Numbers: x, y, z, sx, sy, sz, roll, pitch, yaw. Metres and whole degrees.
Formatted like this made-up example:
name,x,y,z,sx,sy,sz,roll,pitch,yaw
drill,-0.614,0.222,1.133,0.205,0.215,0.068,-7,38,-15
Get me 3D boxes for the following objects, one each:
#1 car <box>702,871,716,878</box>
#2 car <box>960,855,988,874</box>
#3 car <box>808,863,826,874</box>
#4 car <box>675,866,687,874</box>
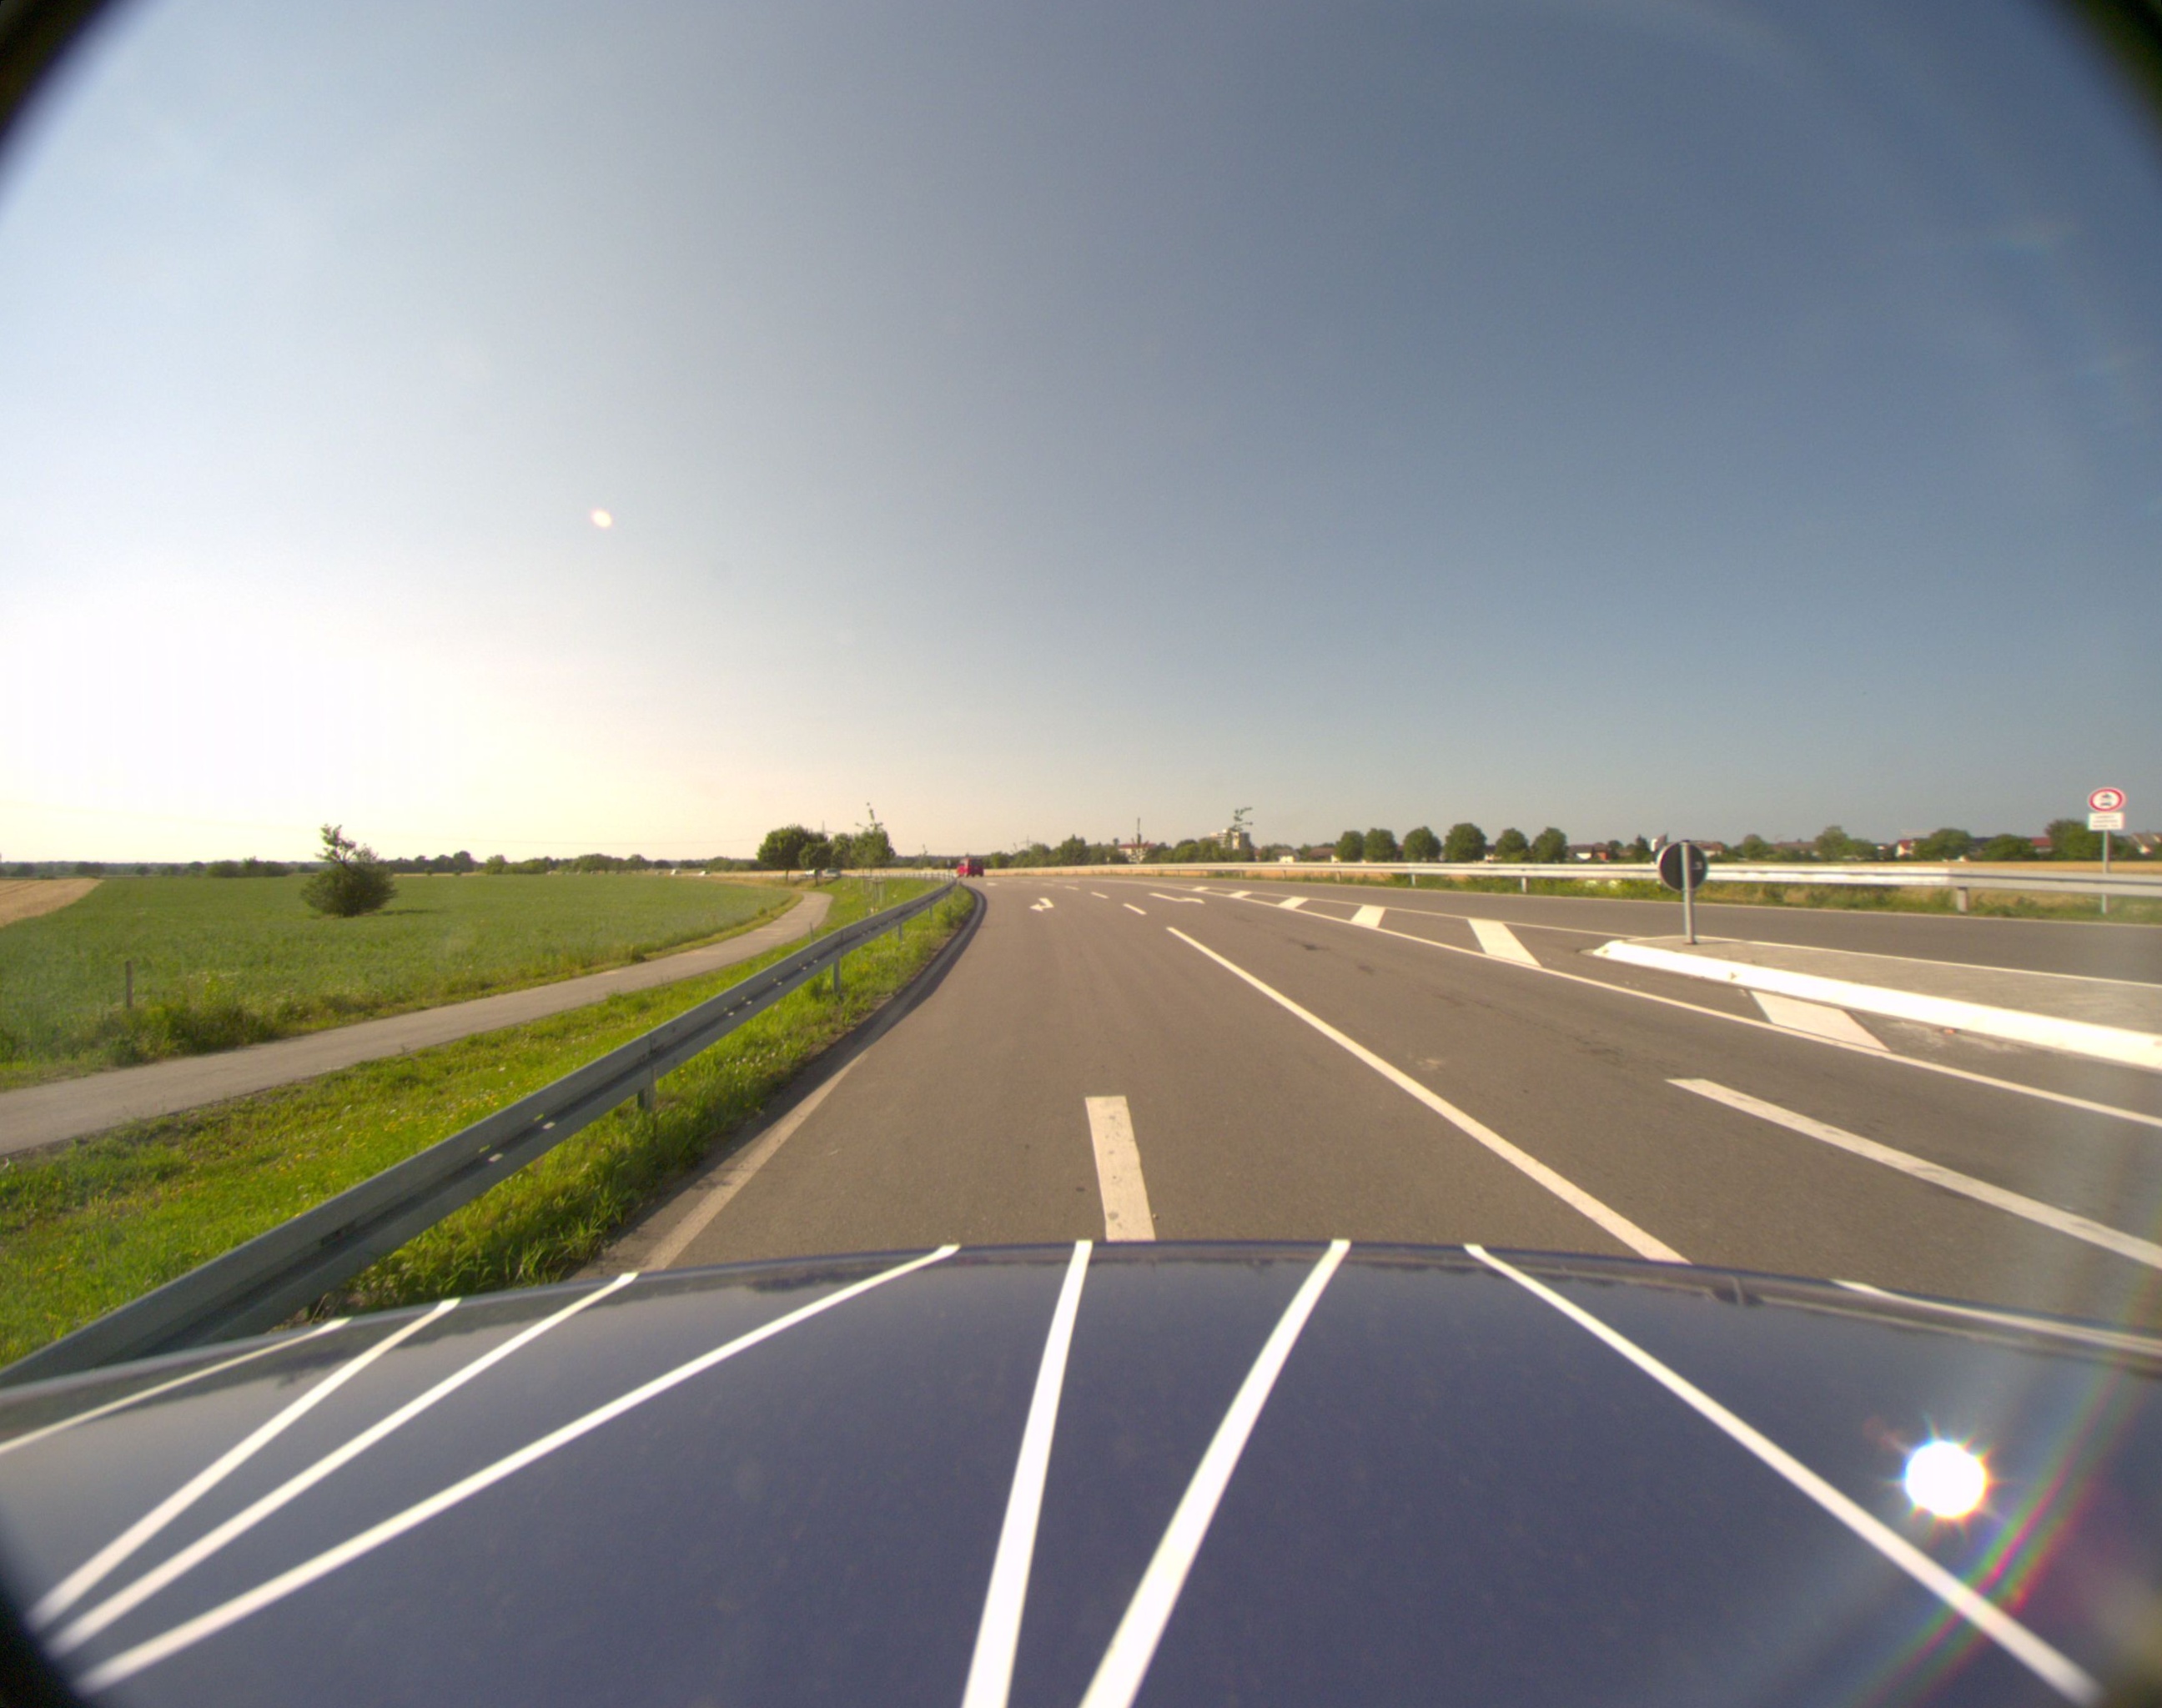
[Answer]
name,x,y,z,sx,sy,sz,roll,pitch,yaw
car,-94.283,5.156,192.632,2.125,1.484,5.141,-2,-2,-37
car,-11.563,1.185,81.743,1.841,1.929,4.917,-1,-1,-22
car,-48.848,2.602,140.442,1.700,1.664,4.848,-3,4,-36
car,-113.870,4.486,216.352,2.125,2.001,5.142,-2,-2,-36
